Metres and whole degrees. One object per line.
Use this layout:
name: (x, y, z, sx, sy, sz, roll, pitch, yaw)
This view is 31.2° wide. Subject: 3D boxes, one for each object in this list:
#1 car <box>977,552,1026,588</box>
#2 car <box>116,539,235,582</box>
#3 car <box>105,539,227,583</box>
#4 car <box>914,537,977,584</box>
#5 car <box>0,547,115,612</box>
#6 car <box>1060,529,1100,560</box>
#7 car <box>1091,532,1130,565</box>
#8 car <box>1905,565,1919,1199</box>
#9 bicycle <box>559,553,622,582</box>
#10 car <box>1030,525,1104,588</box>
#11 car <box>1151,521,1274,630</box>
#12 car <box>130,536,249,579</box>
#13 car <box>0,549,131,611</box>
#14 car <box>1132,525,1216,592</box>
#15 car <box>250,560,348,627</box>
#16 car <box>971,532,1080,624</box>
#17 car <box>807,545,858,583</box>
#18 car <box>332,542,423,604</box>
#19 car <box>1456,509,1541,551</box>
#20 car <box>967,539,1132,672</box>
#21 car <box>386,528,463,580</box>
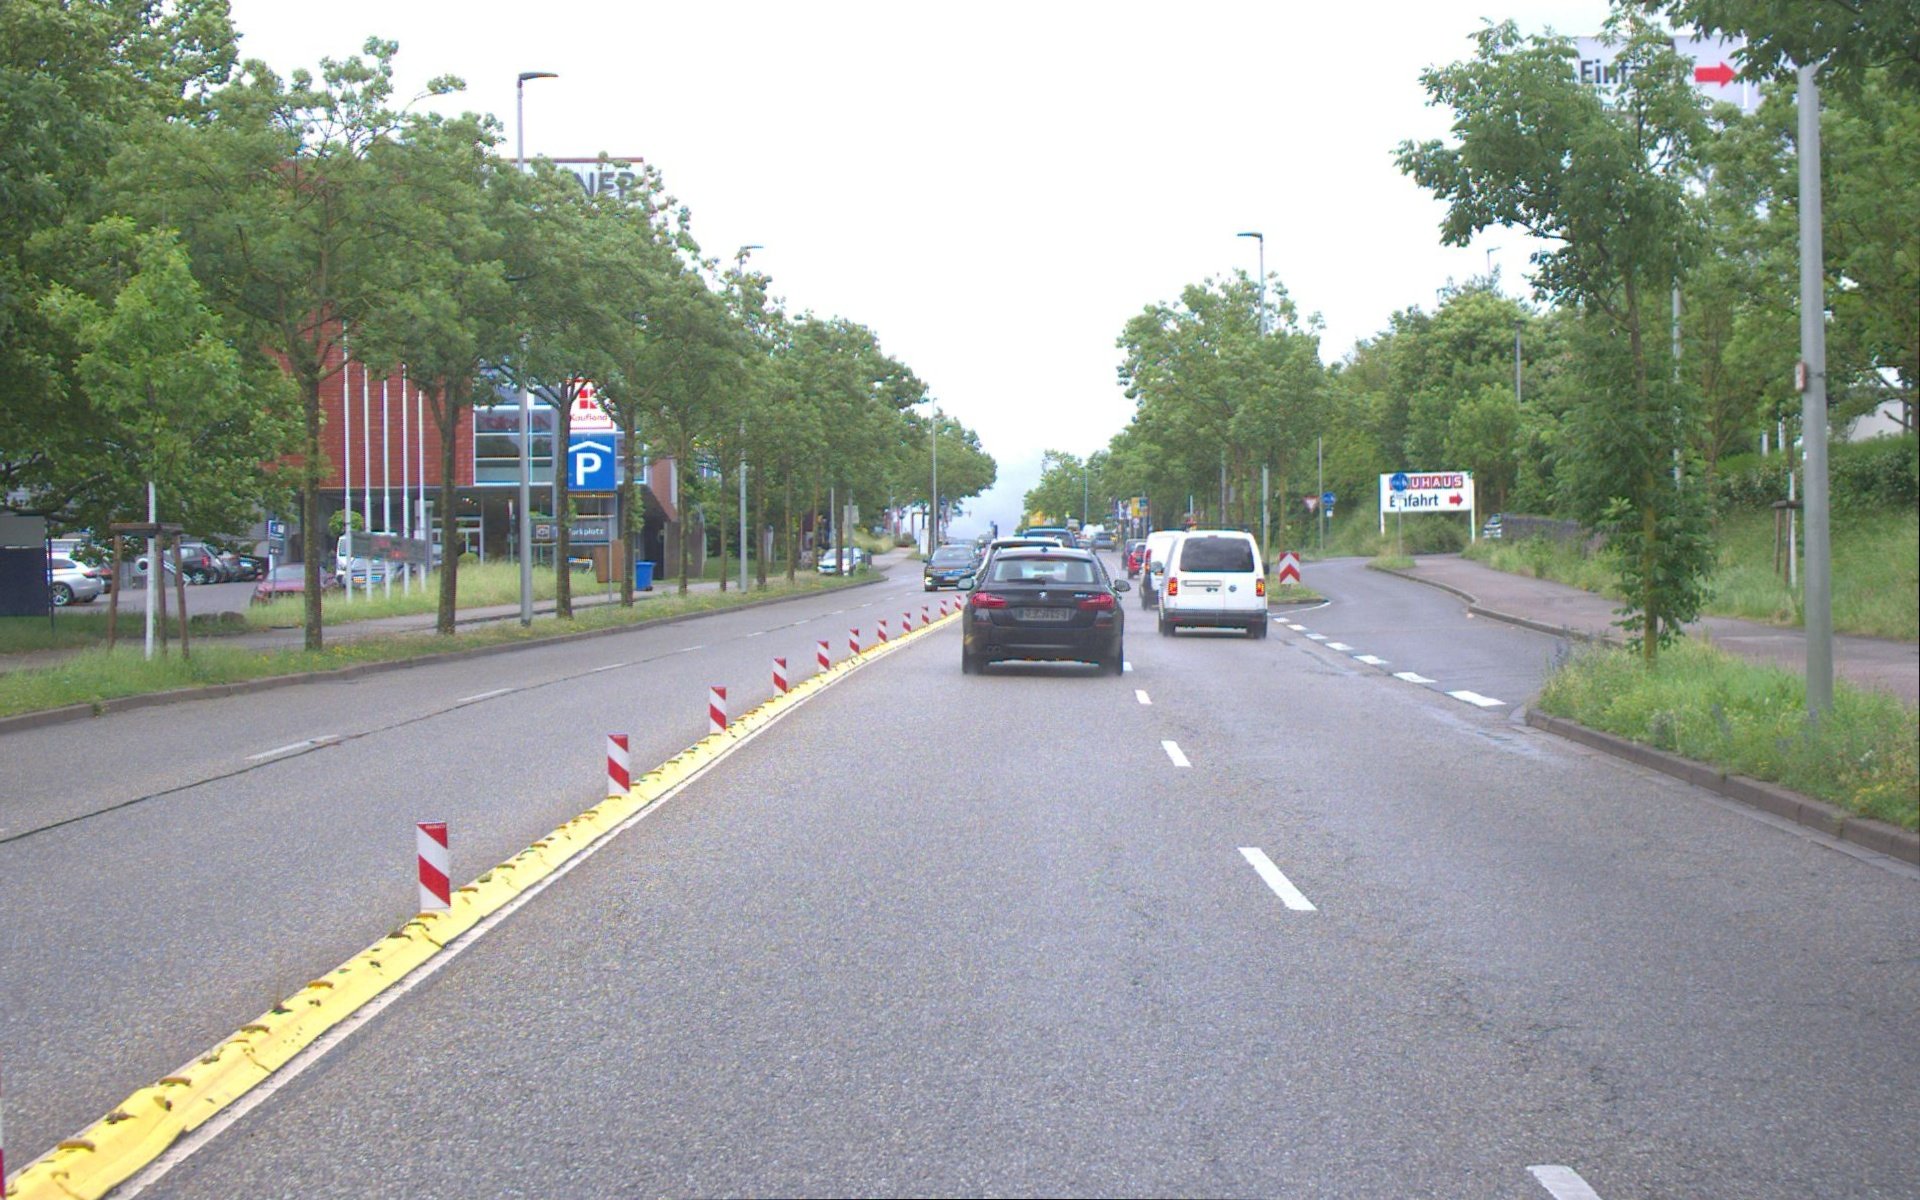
car: (1.729, -1.239, 142.393, 1.762, 1.420, 4.179, -1, 1, 4)
car: (-29.102, -1.474, 127.641, 4.108, 1.505, 1.820, 0, 2, -6)
car: (-28.941, -1.430, 125.406, 4.108, 1.505, 1.820, 0, 2, -6)
car: (-0.455, -1.309, 112.535, 1.827, 1.461, 4.616, -1, 1, 2)
car: (-26.570, -0.600, 98.005, 4.598, 1.740, 1.968, 0, 2, -6)
car: (6.217, -2.871, 178.283, 1.794, 1.505, 4.000, 1, 0, -1)
car: (7.345, -2.498, 168.042, 1.794, 1.505, 4.000, 1, 0, 1)
car: (2.984, 0.682, 5.406, 1.685, 1.575, 4.219, 1, 1, -2)
bicycle: (-13.558, -1.193, 126.135, 2.077, 0.932, 1.093, 4, 1, 7)
car: (2.695, -1.088, 87.307, 1.794, 1.505, 4.000, 1, 0, 1)
car: (4.279, -0.441, 58.740, 1.827, 1.753, 4.000, 1, 1, 1)
car: (-29.029, -1.604, 129.628, 4.190, 1.505, 1.820, 0, 2, -6)
car: (-26.716, -0.596, 100.766, 4.498, 1.740, 1.901, 0, 2, -6)
car: (5.002, -0.965, 80.775, 1.794, 1.505, 4.000, 1, 0, 1)
car: (-17.828, -0.206, 92.900, 1.932, 1.603, 4.712, 1, 2, -3)
car: (1.151, -0.383, 59.904, 1.794, 1.505, 4.000, 1, 0, 1)
car: (-5.658, -1.625, 152.768, 1.867, 1.547, 4.575, -3, 1, 2)
car: (-18.167, -0.859, 107.424, 2.039, 1.756, 4.946, 1, 2, -1)
car: (20.514, -2.654, 130.840, 1.797, 1.505, 3.993, 2, 0, 31)
car: (1.034, 0.022, 40.349, 1.827, 1.463, 4.000, 1, 1, 1)
car: (-19.940, -1.722, 128.141, 2.138, 1.767, 4.608, 1, 2, 0)
